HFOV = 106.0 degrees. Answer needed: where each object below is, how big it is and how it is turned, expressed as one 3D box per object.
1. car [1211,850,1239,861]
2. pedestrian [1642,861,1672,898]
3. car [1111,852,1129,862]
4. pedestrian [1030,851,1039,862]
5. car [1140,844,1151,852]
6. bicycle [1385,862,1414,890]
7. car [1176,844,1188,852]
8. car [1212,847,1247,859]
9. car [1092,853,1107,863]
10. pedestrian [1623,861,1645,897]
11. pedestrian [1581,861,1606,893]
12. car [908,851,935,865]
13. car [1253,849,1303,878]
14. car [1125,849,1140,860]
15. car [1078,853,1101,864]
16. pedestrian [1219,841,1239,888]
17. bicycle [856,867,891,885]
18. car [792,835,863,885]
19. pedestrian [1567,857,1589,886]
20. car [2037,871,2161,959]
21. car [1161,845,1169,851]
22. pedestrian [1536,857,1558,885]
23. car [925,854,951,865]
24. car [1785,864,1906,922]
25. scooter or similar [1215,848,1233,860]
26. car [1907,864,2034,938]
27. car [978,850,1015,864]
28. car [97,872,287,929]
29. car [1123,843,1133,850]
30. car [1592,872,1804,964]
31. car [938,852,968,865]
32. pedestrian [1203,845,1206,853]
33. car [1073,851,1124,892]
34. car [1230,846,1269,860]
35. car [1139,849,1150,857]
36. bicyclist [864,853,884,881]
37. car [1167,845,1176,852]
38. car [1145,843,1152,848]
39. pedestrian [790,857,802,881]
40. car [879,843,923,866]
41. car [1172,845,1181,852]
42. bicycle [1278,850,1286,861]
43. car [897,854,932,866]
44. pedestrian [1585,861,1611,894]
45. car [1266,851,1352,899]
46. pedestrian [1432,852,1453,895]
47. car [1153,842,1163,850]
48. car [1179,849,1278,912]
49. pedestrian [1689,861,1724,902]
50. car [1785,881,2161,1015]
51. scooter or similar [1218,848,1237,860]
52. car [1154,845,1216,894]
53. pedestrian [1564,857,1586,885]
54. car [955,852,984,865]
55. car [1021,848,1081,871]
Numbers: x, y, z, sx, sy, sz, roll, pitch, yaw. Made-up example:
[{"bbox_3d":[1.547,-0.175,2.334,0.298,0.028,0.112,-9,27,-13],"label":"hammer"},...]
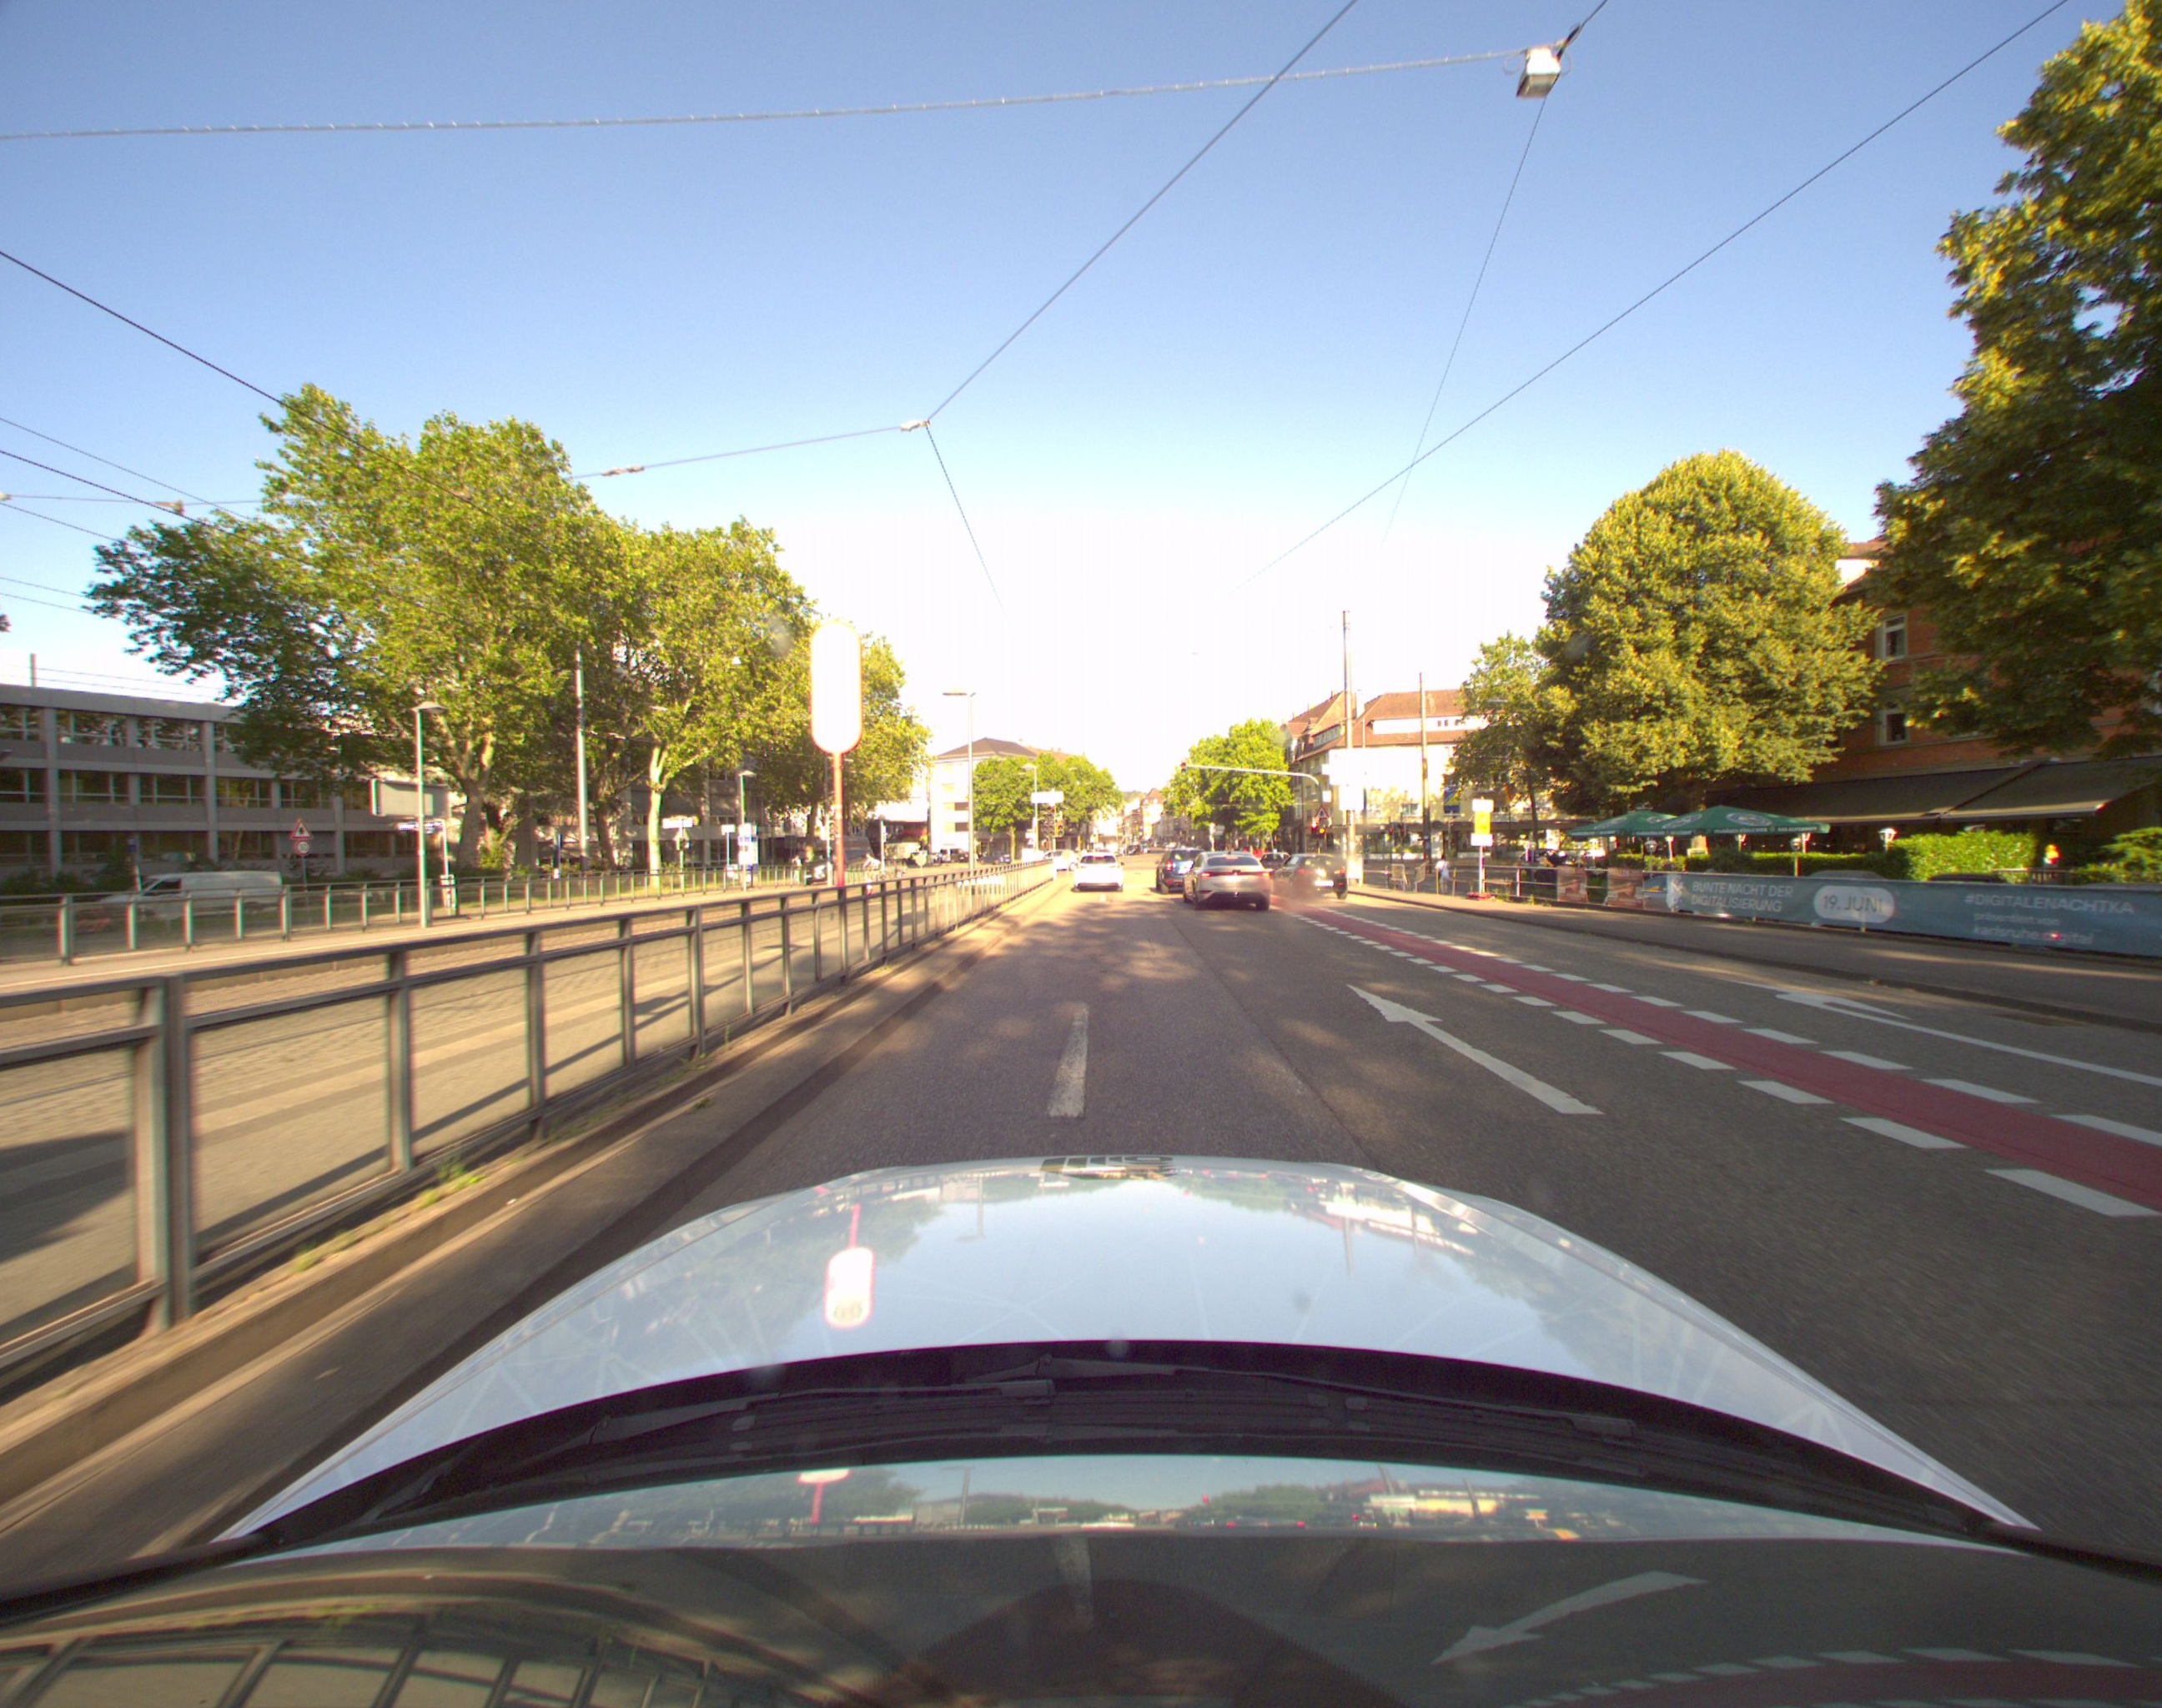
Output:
[{"bbox_3d":[20.760,0.226,117.375,4.021,1.510,1.779,-1,0,-40],"label":"car"},{"bbox_3d":[21.350,0.932,30.203,0.645,1.338,0.632,2,0,2],"label":"pedestrian"},{"bbox_3d":[6.298,0.532,131.854,1.779,1.510,4.020,-1,-1,21],"label":"car"},{"bbox_3d":[-6.310,0.319,111.098,0.795,1.484,0.867,-1,0,28],"label":"pedestrian"},{"bbox_3d":[12.164,-1.167,153.783,1.788,1.510,4.000,-1,0,1],"label":"car"},{"bbox_3d":[12.521,0.841,32.030,0.496,1.075,1.801,0,-1,2],"label":"bicycle"},{"bbox_3d":[21.778,-1.312,175.199,2.097,1.776,4.343,-1,0,1],"label":"car"},{"bbox_3d":[18.835,-0.117,103.201,3.979,1.510,1.797,-1,0,-4],"label":"car"},{"bbox_3d":[2.855,0.587,123.873,1.784,1.510,4.010,-1,-1,9],"label":"car"},{"bbox_3d":[21.106,0.944,31.073,0.642,1.338,0.636,2,0,32],"label":"pedestrian"},{"bbox_3d":[21.703,0.979,34.508,0.645,1.338,0.632,2,0,2],"label":"pedestrian"},{"bbox_3d":[-22.146,0.562,113.247,1.779,1.955,4.021,-1,0,21],"label":"car"},{"bbox_3d":[11.285,0.527,46.495,1.777,1.510,4.025,0,1,28],"label":"car"},{"bbox_3d":[8.820,0.070,139.234,1.782,1.826,4.014,-1,0,12],"label":"car"},{"bbox_3d":[1.254,0.607,117.916,1.707,1.510,3.899,-2,-1,27],"label":"car"},{"bbox_3d":[6.053,0.429,33.331,0.654,1.871,0.678,-1,0,1],"label":"pedestrian"},{"bbox_3d":[-10.522,1.104,41.366,1.625,0.816,0.521,-1,0,-39],"label":"bicycle"},{"bbox_3d":[-14.629,0.353,47.392,2.056,2.743,5.040,0,-1,6],"label":"car"},{"bbox_3d":[23.327,0.811,38.228,0.645,1.338,0.632,2,0,2],"label":"pedestrian"},{"bbox_3d":[21.596,1.168,16.775,4.266,1.406,1.944,-3,1,-33],"label":"car"},{"bbox_3d":[21.386,-1.617,207.159,1.787,1.522,4.001,-1,0,2],"label":"car"},{"bbox_3d":[22.439,0.822,39.218,0.645,1.338,0.632,2,0,2],"label":"pedestrian"},{"bbox_3d":[-19.681,0.762,112.286,1.779,1.510,4.031,-1,0,21],"label":"car"},{"bbox_3d":[21.912,1.043,23.314,4.017,1.348,1.760,-3,1,-35],"label":"car"},{"bbox_3d":[15.193,0.002,86.601,1.926,1.280,0.557,-1,0,43],"label":"scooter or similar"},{"bbox_3d":[22.197,1.094,20.289,4.019,1.480,1.780,-3,1,-38],"label":"car"},{"bbox_3d":[-9.304,0.346,89.803,3.949,1.510,1.811,-1,0,40],"label":"car"},{"bbox_3d":[-42.510,2.129,39.172,2.131,2.335,5.756,-1,0,25],"label":"car"},{"bbox_3d":[10.197,-1.573,176.762,1.788,1.510,4.000,-1,0,1],"label":"car"},{"bbox_3d":[14.540,1.419,19.578,1.788,1.898,4.358,0,-1,0],"label":"car"},{"bbox_3d":[-17.318,0.656,110.167,1.777,1.649,4.035,-1,0,31],"label":"car"},{"bbox_3d":[25.165,-0.975,166.235,0.643,1.651,0.652,0,-1,12],"label":"pedestrian"},{"bbox_3d":[0.661,0.628,31.039,1.801,1.452,4.001,0,0,1],"label":"car"},{"bbox_3d":[19.230,-0.096,92.862,3.983,1.510,1.796,-1,0,-7],"label":"car"},{"bbox_3d":[12.565,-0.218,161.765,1.788,1.510,4.000,-1,0,1],"label":"car"},{"bbox_3d":[-10.528,0.642,41.367,0.807,1.414,0.521,-1,0,-39],"label":"bicyclist"},{"bbox_3d":[20.827,-1.212,187.920,1.787,1.510,4.001,-1,0,2],"label":"car"},{"bbox_3d":[21.304,-2.793,257.519,1.787,1.510,4.001,-1,0,2],"label":"car"},{"bbox_3d":[-18.583,0.969,53.136,0.533,1.552,0.677,-1,0,1],"label":"pedestrian"},{"bbox_3d":[-25.241,0.045,114.321,2.473,3.165,6.573,-1,0,25],"label":"car"},{"bbox_3d":[21.299,-1.187,181.743,1.787,1.510,4.001,-1,0,2],"label":"car"},{"bbox_3d":[21.353,0.152,86.686,0.606,1.107,1.803,-1,0,6],"label":"bicycle"},{"bbox_3d":[-20.905,0.759,102.083,3.950,1.510,1.811,-1,0,25],"label":"car"},{"bbox_3d":[21.290,0.968,33.557,0.645,1.338,0.632,2,0,2],"label":"pedestrian"},{"bbox_3d":[7.359,0.631,26.652,1.793,1.439,4.047,0,0,2],"label":"car"},{"bbox_3d":[13.484,0.727,30.399,0.642,1.563,0.635,2,0,20],"label":"pedestrian"},{"bbox_3d":[21.908,-2.297,232.188,2.318,2.013,4.978,-1,0,2],"label":"car"},{"bbox_3d":[3.841,0.629,22.035,1.922,1.472,4.857,-1,0,2],"label":"car"},{"bbox_3d":[20.925,0.900,27.246,0.645,1.338,0.632,2,0,2],"label":"pedestrian"},{"bbox_3d":[14.665,1.405,13.716,1.791,1.803,4.203,0,-1,-5],"label":"car"},{"bbox_3d":[15.675,0.008,87.140,1.926,1.280,0.557,-1,0,43],"label":"scooter or similar"},{"bbox_3d":[3.641,0.505,29.217,1.794,1.638,4.046,-1,0,1],"label":"car"},{"bbox_3d":[23.739,0.821,39.134,0.645,1.338,0.632,2,0,2],"label":"pedestrian"},{"bbox_3d":[-14.974,0.603,109.445,1.904,1.649,4.203,-1,0,22],"label":"car"},{"bbox_3d":[-2.254,0.379,60.707,4.158,1.692,1.810,0,0,-18],"label":"car"}]
